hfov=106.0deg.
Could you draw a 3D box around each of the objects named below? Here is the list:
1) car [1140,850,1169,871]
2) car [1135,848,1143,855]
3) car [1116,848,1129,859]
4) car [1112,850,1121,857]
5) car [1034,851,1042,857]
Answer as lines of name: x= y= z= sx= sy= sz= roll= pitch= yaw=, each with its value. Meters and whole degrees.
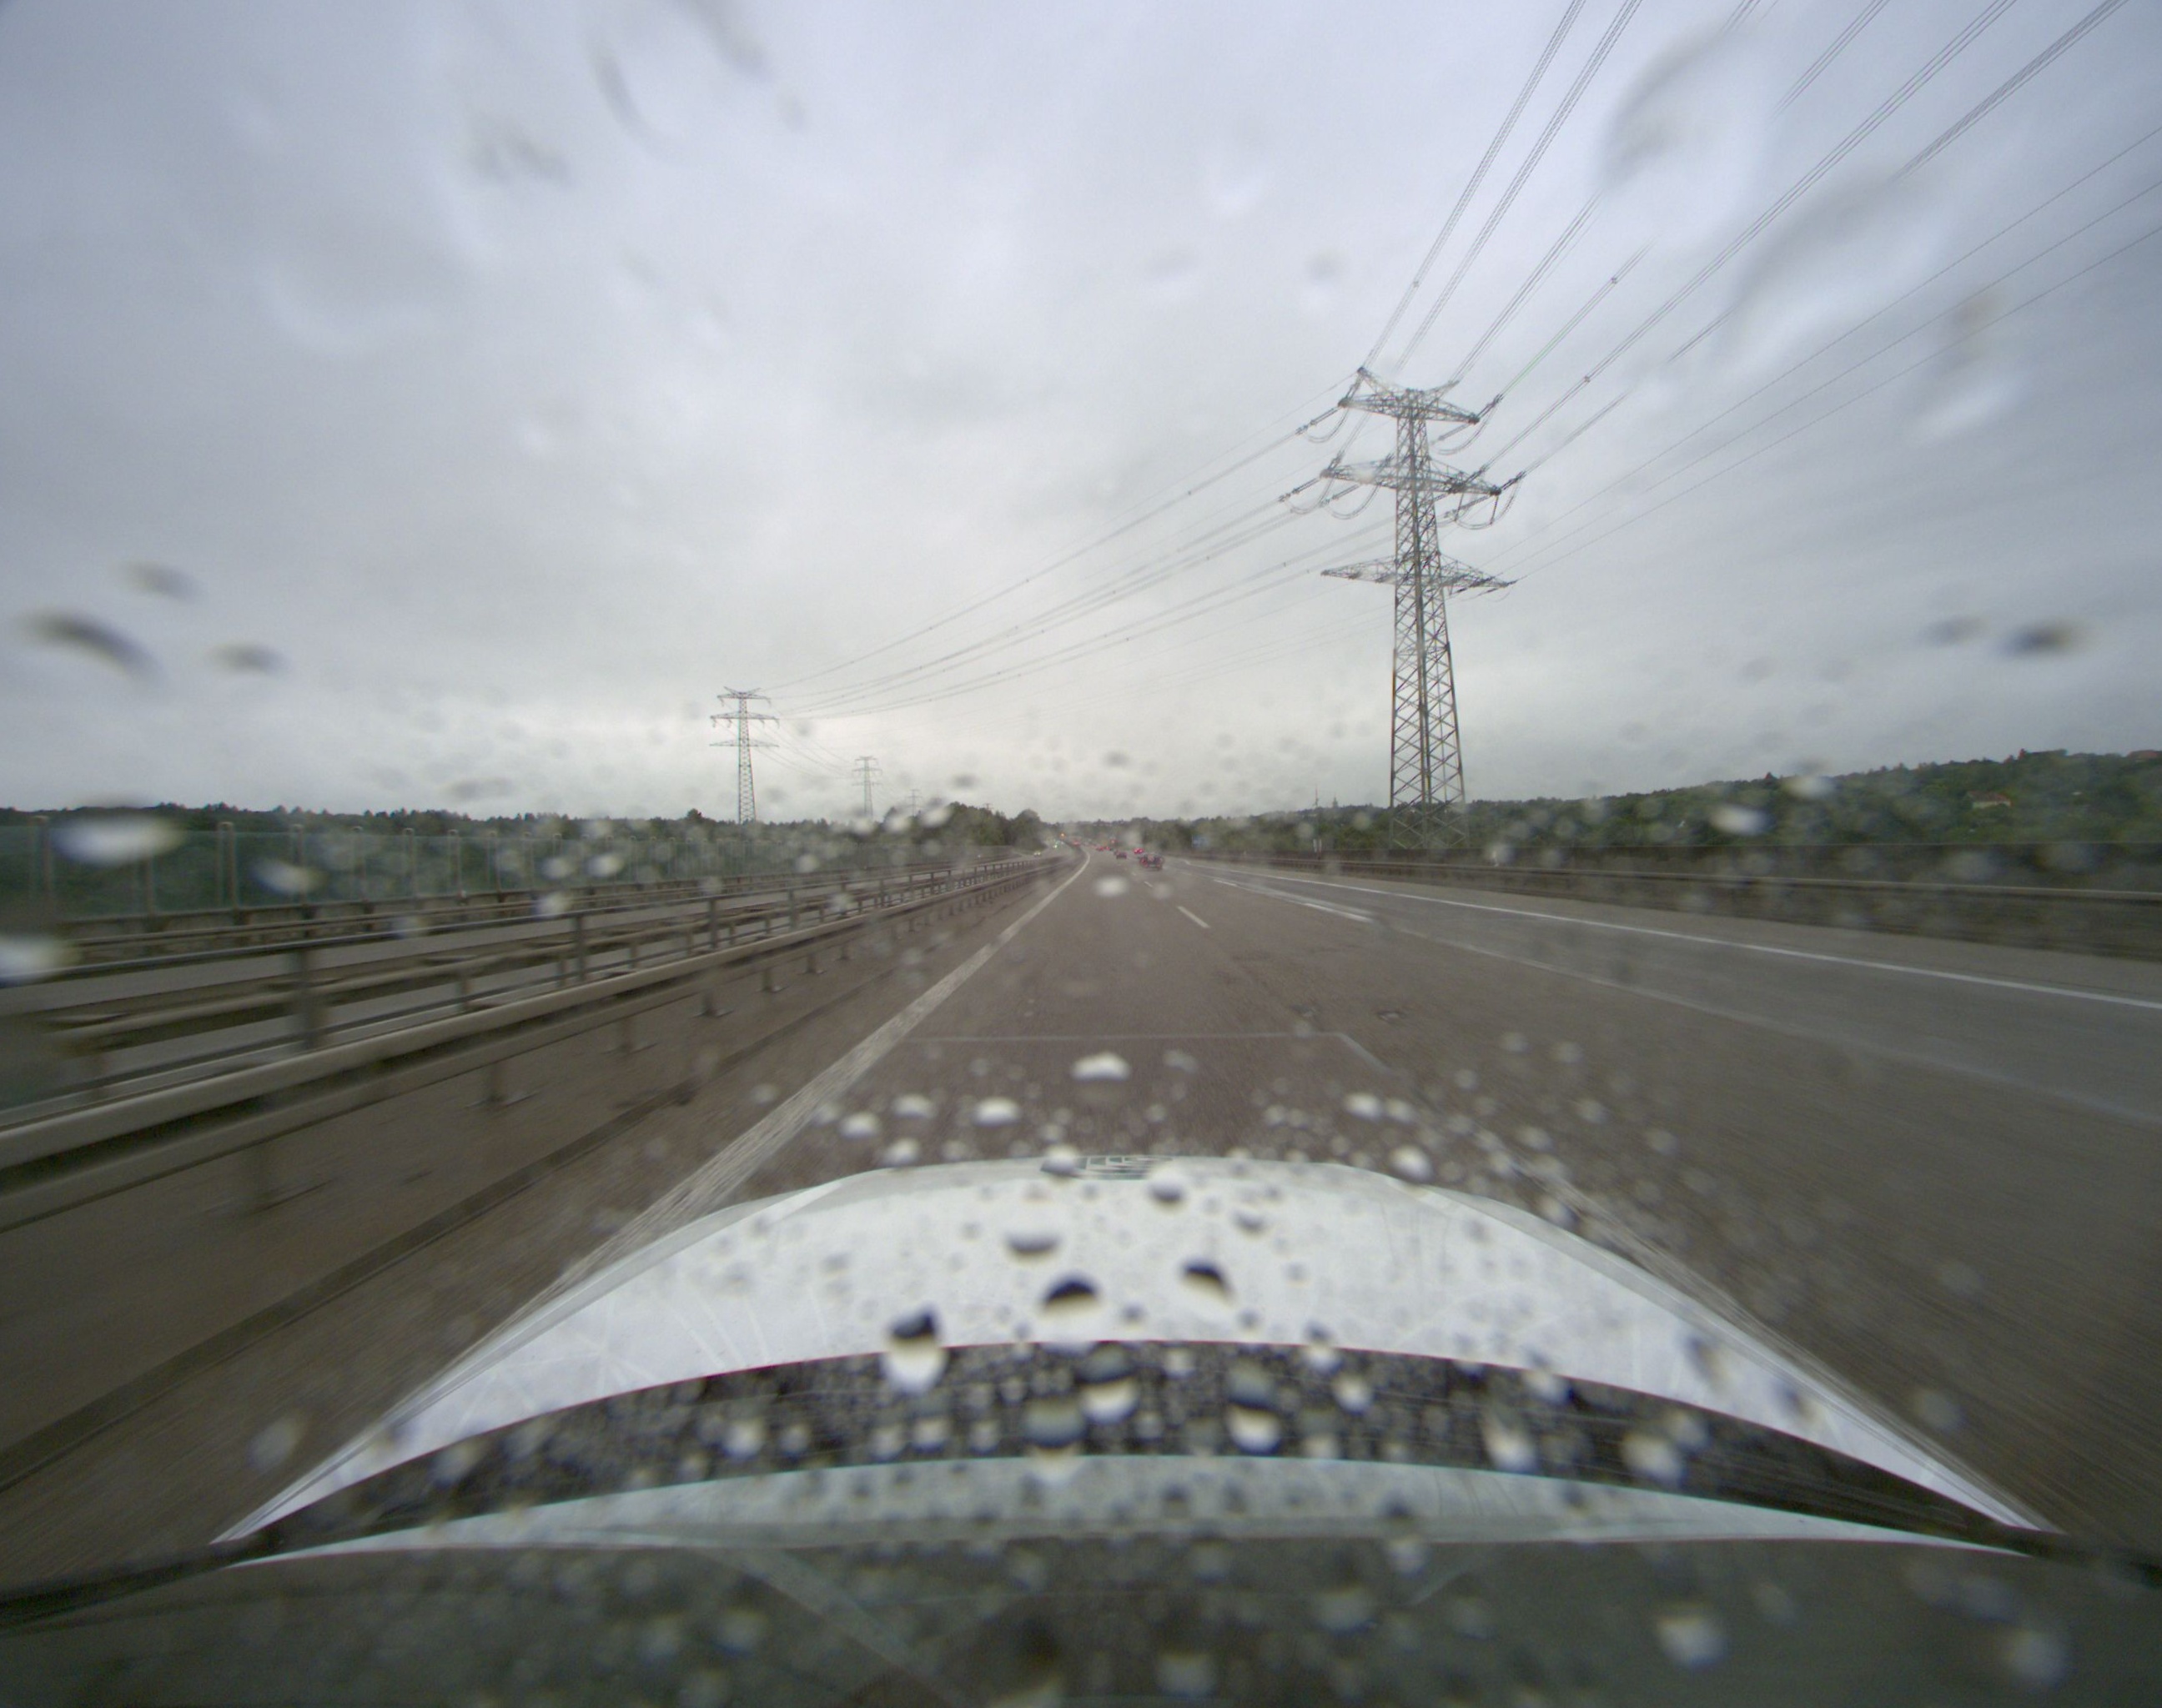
car: x=5.949 y=0.516 z=66.674 sx=2.050 sy=1.671 sz=5.524 roll=-1 pitch=0 yaw=2
car: x=15.460 y=-0.691 z=217.071 sx=1.913 sy=1.709 sz=4.006 roll=-2 pitch=1 yaw=5
car: x=7.381 y=-0.045 z=145.527 sx=1.988 sy=1.760 sz=3.998 roll=-3 pitch=1 yaw=-2
car: x=8.771 y=-0.197 z=201.747 sx=1.988 sy=1.628 sz=3.998 roll=-3 pitch=1 yaw=-2
car: x=-12.552 y=0.037 z=236.684 sx=1.987 sy=1.629 sz=4.714 roll=-2 pitch=0 yaw=1
